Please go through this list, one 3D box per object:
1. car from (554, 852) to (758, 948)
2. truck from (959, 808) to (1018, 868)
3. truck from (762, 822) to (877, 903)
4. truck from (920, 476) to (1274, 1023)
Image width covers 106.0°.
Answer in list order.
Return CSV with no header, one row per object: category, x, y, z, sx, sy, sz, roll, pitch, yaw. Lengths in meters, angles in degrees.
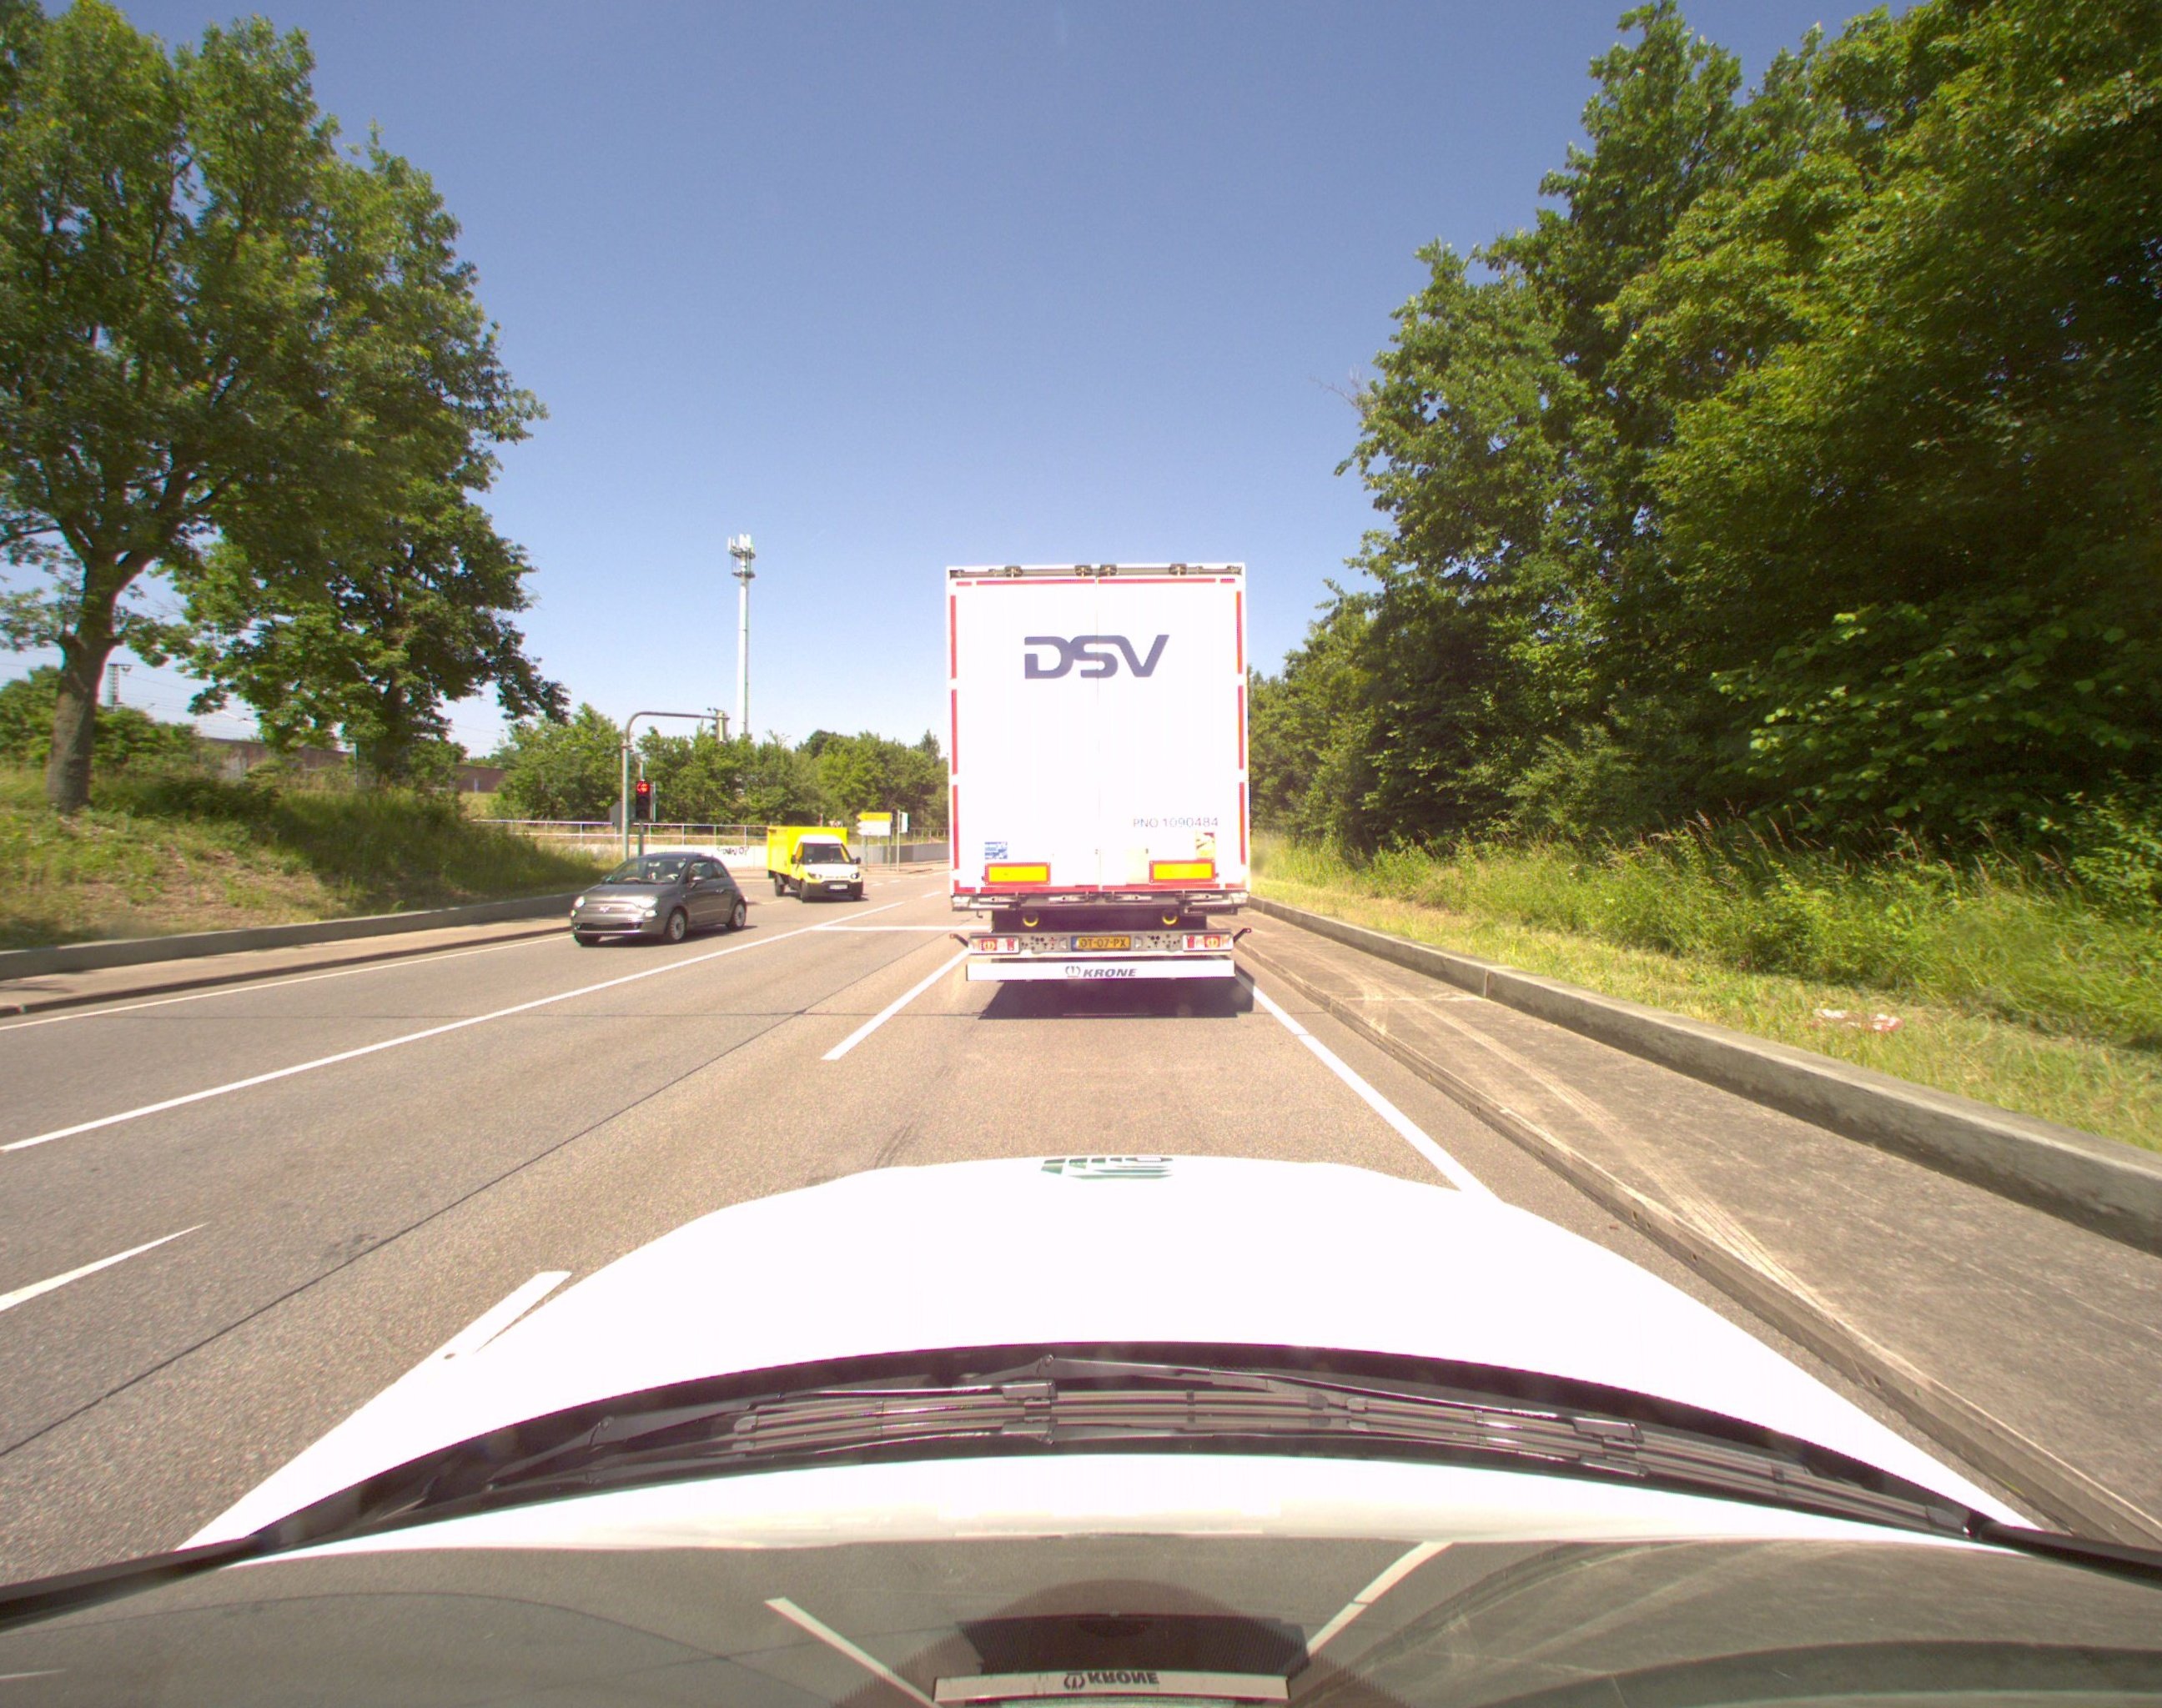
car,-7.330,0.708,14.471,1.580,1.469,3.603,0,0,3
truck,-6.259,-1.093,57.067,2.344,3.749,12.630,0,1,2
truck,-8.475,0.199,25.935,1.992,2.274,5.963,-1,1,-33
truck,0.250,-0.913,11.768,2.939,4.568,9.865,0,0,1
